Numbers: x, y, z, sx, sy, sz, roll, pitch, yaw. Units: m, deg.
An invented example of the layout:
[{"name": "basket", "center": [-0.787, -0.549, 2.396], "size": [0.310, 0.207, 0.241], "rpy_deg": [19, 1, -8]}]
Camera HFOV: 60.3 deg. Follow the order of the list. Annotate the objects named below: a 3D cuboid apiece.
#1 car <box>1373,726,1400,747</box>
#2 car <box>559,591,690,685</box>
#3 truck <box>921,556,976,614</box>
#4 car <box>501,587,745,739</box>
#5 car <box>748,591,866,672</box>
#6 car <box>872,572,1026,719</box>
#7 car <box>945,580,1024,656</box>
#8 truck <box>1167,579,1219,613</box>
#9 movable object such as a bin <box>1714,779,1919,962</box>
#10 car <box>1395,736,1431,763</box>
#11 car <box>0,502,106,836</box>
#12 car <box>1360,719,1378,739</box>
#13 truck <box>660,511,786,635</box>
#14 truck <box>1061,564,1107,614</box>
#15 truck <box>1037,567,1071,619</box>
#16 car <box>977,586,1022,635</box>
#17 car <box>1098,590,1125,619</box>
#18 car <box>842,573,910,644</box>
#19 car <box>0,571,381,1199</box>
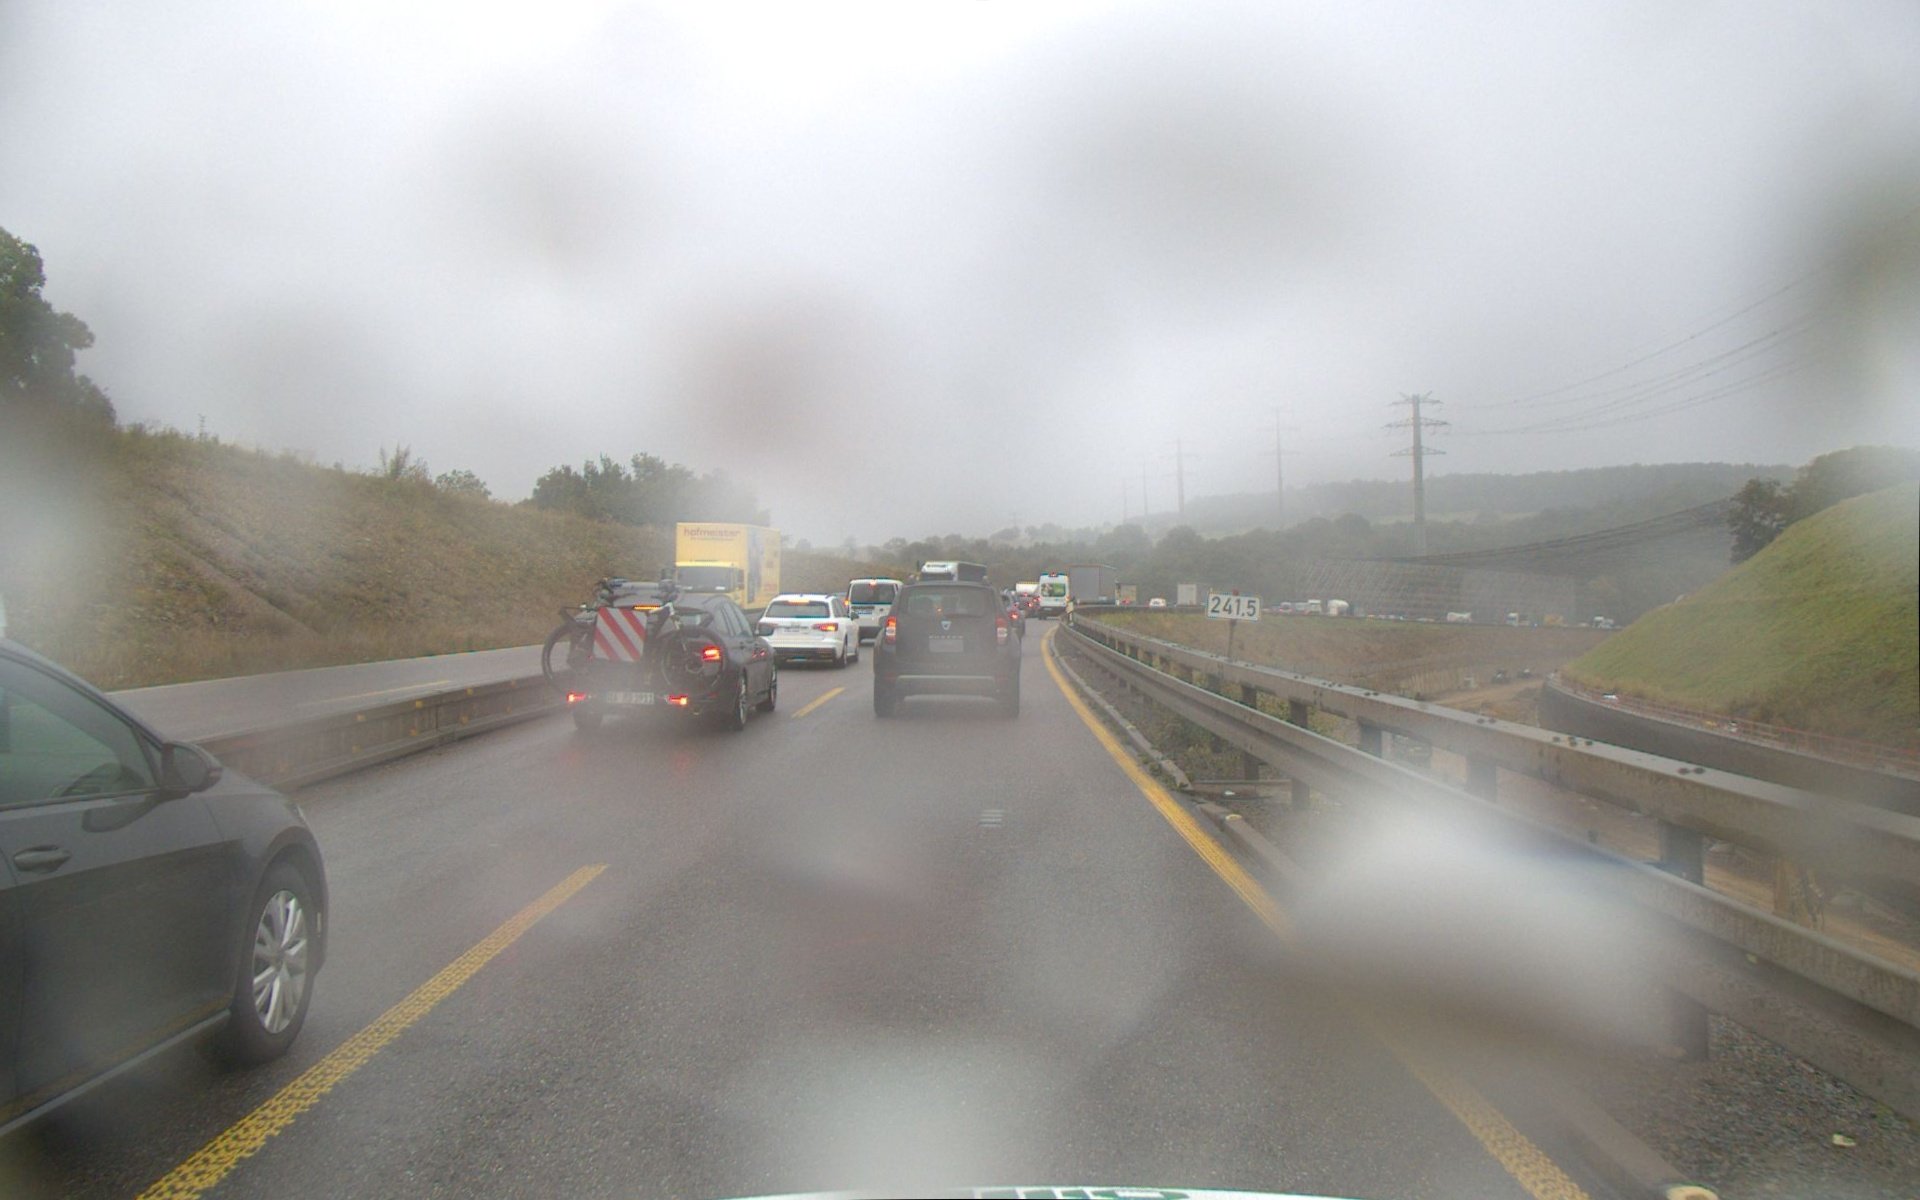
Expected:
[{"name": "car", "center": [43.607, 13.930, 169.064], "size": [1.951, 1.847, 4.002], "rpy_deg": [1, 0, 4]}, {"name": "car", "center": [-6.263, 0.665, 31.251], "size": [1.725, 1.625, 3.999], "rpy_deg": [1, 0, -2]}, {"name": "truck", "center": [-0.804, -1.142, 129.373], "size": [2.871, 4.169, 14.399], "rpy_deg": [1, 0, 5]}, {"name": "car", "center": [-3.616, 0.624, 18.399], "size": [1.790, 1.502, 3.777], "rpy_deg": [0, 0, 2]}, {"name": "car", "center": [-3.016, 0.579, 33.446], "size": [1.829, 1.486, 4.549], "rpy_deg": [1, 0, 1]}, {"name": "car", "center": [-0.068, 0.520, 20.857], "size": [1.767, 1.674, 3.777], "rpy_deg": [0, 0, 2]}, {"name": "car", "center": [0.617, 0.416, 40.540], "size": [1.829, 1.738, 4.001], "rpy_deg": [1, 0, 1]}, {"name": "truck", "center": [31.202, -0.501, 220.541], "size": [4.618, 4.222, 15.692], "rpy_deg": [1, 0, 16]}, {"name": "movable object such as a bin", "center": [22.442, 6.996, 43.514], "size": [3.148, 3.934, 4.122], "rpy_deg": [2, 1, 0]}, {"name": "car", "center": [41.489, 13.649, 151.492], "size": [2.316, 2.049, 4.001], "rpy_deg": [1, 0, 2]}, {"name": "car", "center": [-6.472, 0.383, 8.001], "size": [1.960, 1.920, 5.273], "rpy_deg": [1, 0, -1]}, {"name": "car", "center": [49.575, 15.677, 200.574], "size": [1.951, 2.049, 4.003], "rpy_deg": [1, 0, 15]}, {"name": "truck", "center": [-8.313, -0.922, 59.103], "size": [2.710, 4.066, 8.427], "rpy_deg": [1, 0, 4]}, {"name": "truck", "center": [10.053, -0.883, 133.272], "size": [3.132, 3.827, 8.516], "rpy_deg": [1, 0, 8]}, {"name": "truck", "center": [6.126, -0.436, 107.361], "size": [2.104, 3.221, 6.462], "rpy_deg": [1, 0, 4]}, {"name": "car", "center": [1.371, 0.351, 58.785], "size": [1.499, 1.669, 4.013], "rpy_deg": [1, 0, 0]}, {"name": "car", "center": [10.453, 0.283, 113.817], "size": [1.737, 1.949, 4.003], "rpy_deg": [1, 0, 6]}, {"name": "car", "center": [-2.388, 0.233, 47.668], "size": [1.626, 1.912, 4.020], "rpy_deg": [1, 0, 1]}, {"name": "car", "center": [-2.817, 0.721, 3.634], "size": [1.581, 1.532, 4.367], "rpy_deg": [-1, 0, -1]}]
